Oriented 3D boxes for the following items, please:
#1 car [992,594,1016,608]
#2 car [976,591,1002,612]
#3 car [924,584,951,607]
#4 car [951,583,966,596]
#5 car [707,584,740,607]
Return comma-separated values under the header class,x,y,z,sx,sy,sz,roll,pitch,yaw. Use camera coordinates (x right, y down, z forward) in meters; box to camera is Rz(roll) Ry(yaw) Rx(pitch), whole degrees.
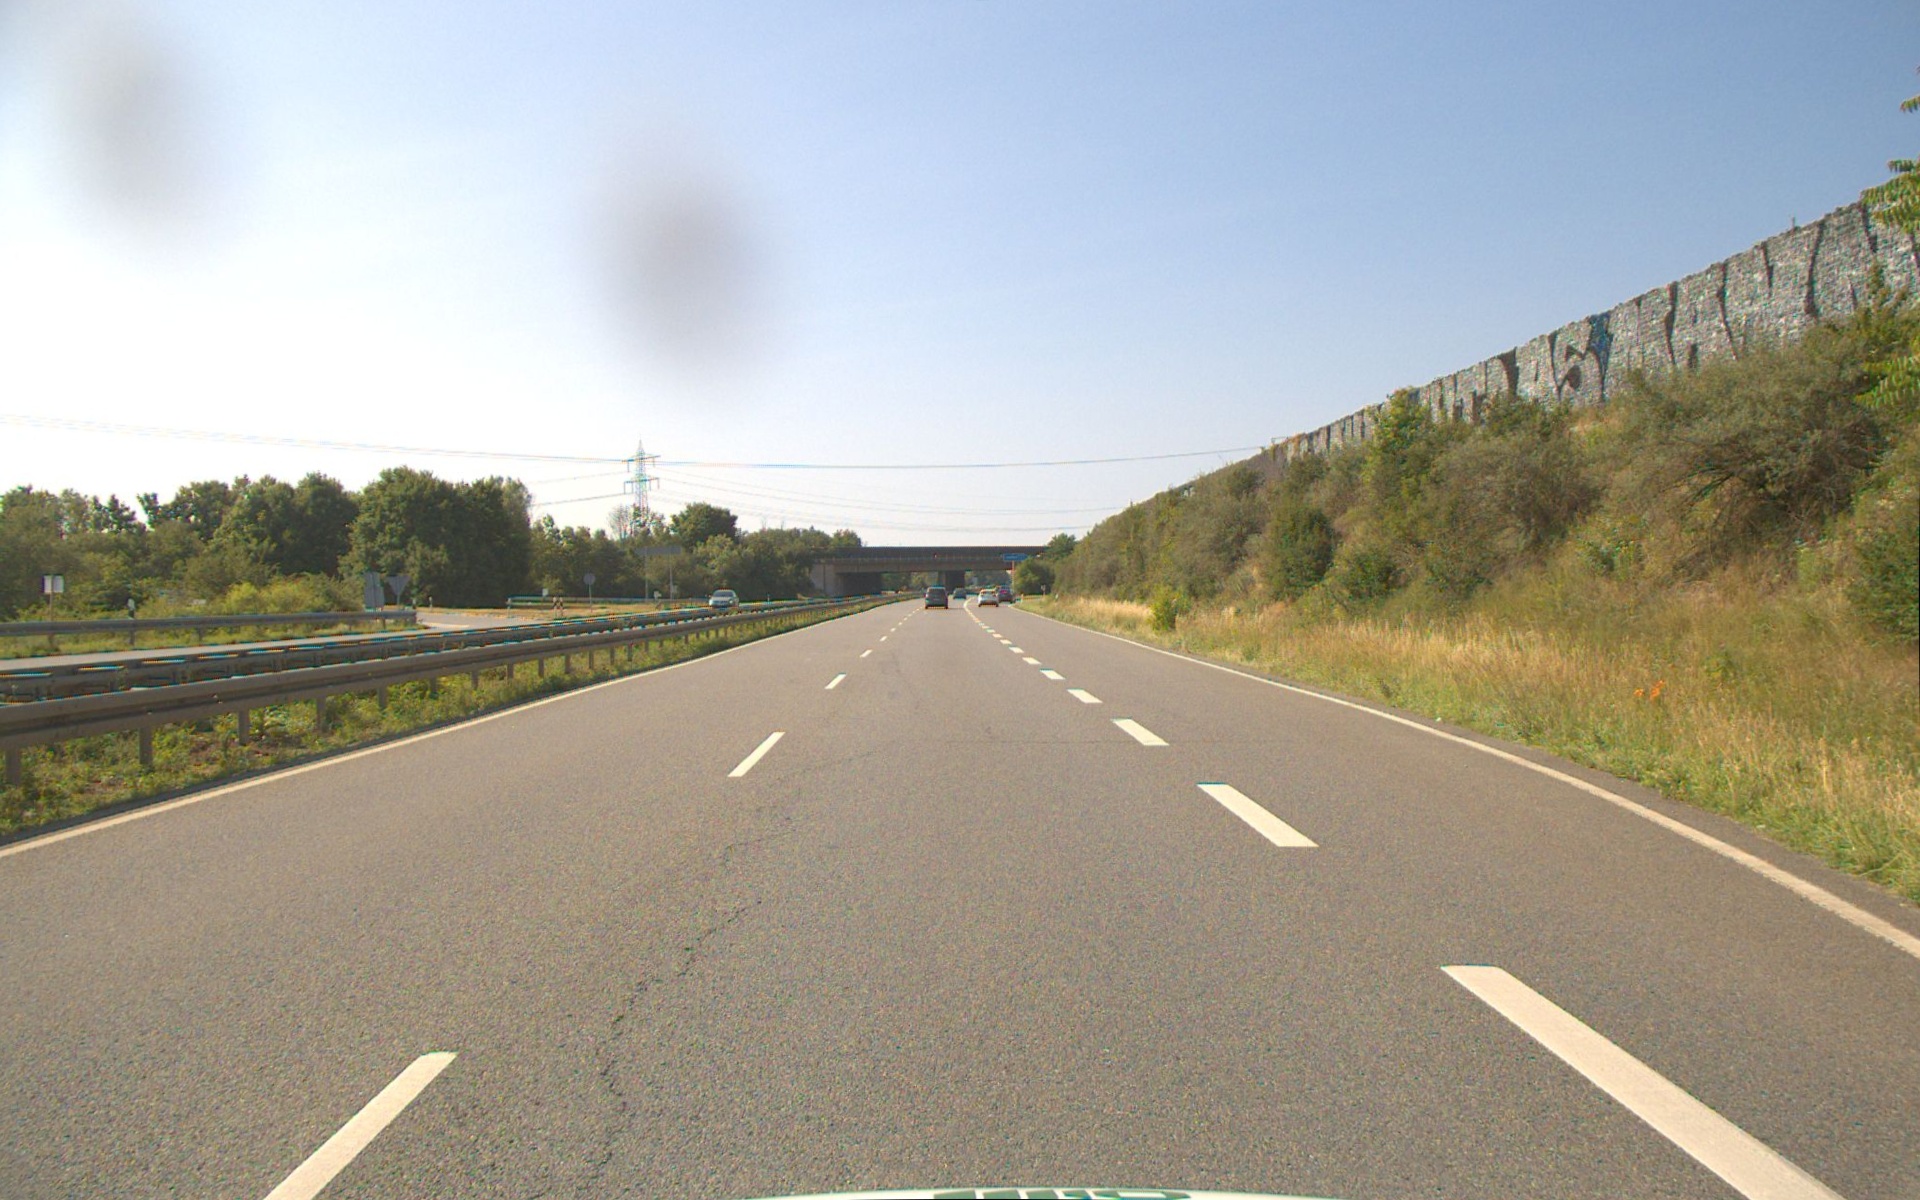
class,x,y,z,sx,sy,sz,roll,pitch,yaw
car,4.572,0.124,172.332,1.861,1.320,4.004,2,1,10
car,2.459,0.099,139.009,1.758,1.694,4.003,2,1,7
car,-1.696,-0.343,125.682,1.811,1.673,4.001,0,0,2
car,-0.192,-1.407,219.239,1.811,1.673,4.001,0,0,2
car,-16.430,-0.312,115.172,1.666,1.511,4.619,2,1,-1
